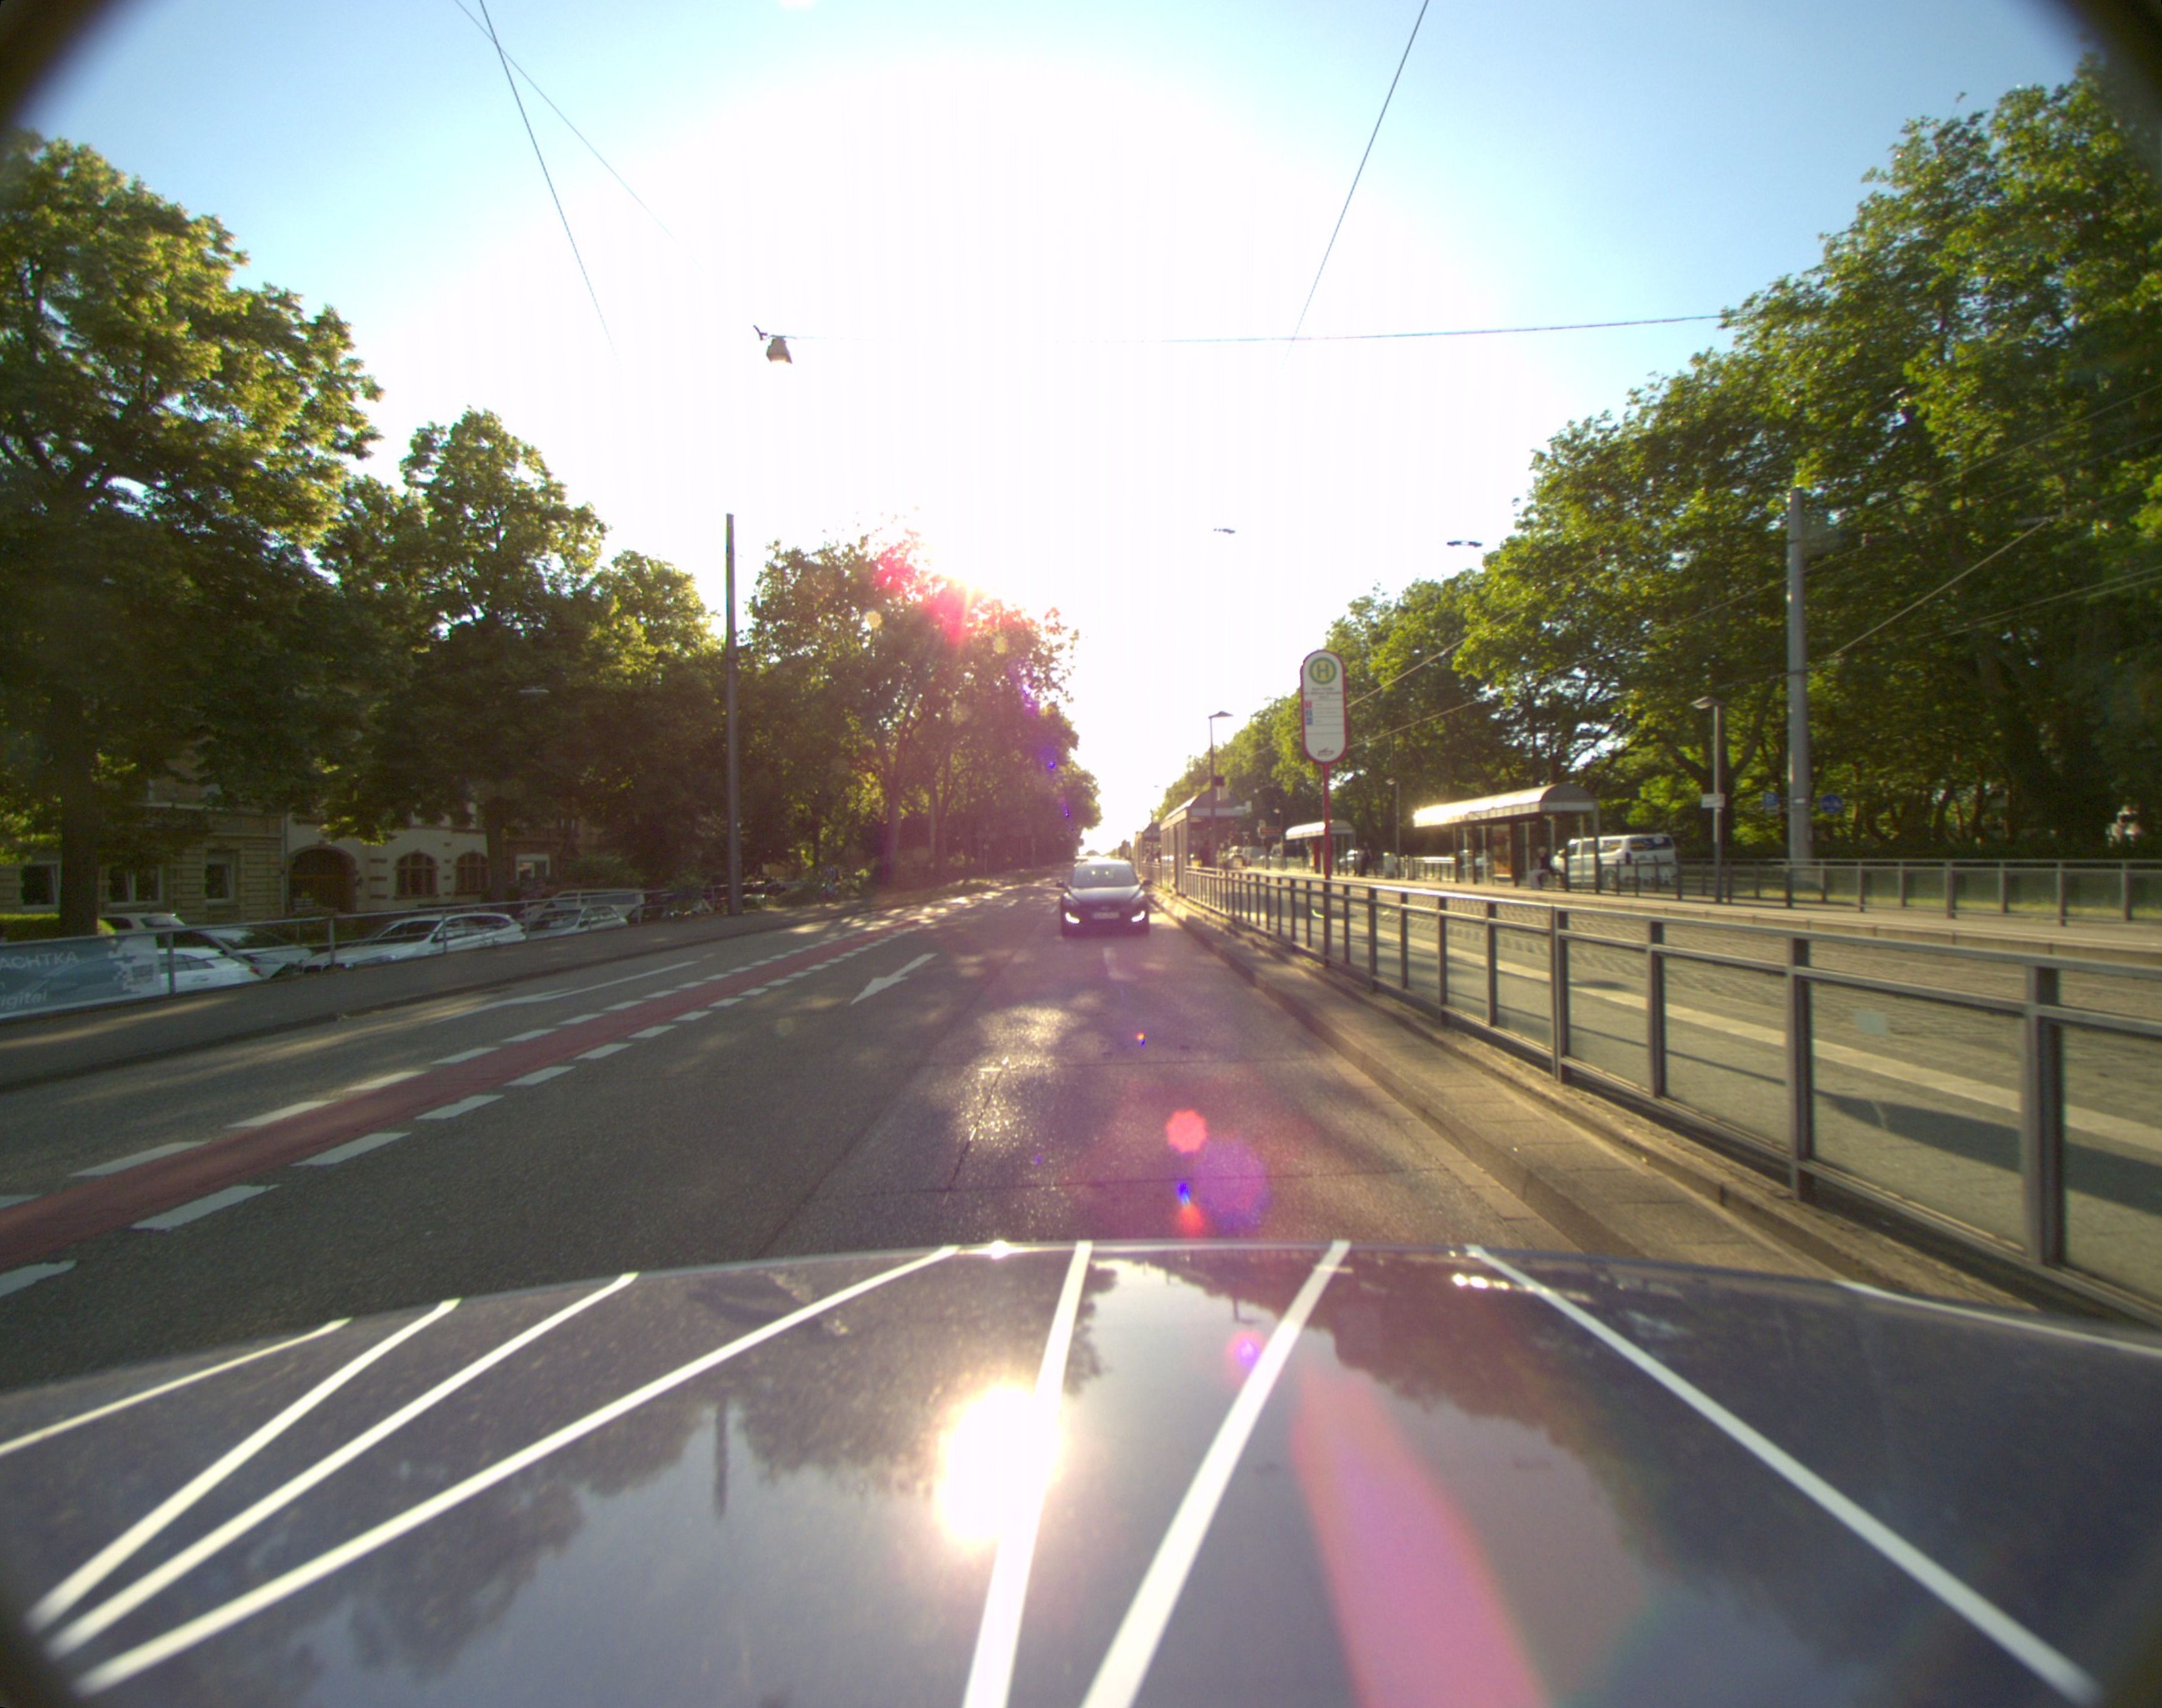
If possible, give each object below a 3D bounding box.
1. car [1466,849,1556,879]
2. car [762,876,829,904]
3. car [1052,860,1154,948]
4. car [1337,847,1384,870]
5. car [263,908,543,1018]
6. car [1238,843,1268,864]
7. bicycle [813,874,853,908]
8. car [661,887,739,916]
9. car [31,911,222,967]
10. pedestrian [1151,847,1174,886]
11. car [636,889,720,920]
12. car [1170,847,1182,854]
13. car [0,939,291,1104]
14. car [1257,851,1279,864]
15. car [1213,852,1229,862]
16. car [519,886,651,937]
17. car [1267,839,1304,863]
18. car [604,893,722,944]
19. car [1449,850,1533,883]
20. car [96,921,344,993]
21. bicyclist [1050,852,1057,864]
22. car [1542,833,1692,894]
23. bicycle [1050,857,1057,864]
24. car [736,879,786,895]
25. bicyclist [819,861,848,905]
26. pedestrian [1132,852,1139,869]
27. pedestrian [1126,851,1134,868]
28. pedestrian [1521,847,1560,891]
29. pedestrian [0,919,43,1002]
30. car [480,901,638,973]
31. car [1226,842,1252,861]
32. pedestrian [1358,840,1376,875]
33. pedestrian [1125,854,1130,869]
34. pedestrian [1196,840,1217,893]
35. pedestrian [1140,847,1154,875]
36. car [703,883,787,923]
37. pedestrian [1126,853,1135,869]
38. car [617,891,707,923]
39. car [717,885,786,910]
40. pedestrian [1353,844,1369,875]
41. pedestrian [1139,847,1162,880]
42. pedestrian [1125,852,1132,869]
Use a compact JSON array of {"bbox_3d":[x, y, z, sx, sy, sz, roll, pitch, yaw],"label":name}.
[{"bbox_3d":[20.297,0.426,36.052,1.774,1.284,4.314,0,1,-1],"label":"car"},{"bbox_3d":[-21.395,2.655,57.016,4.470,2.002,1.992,0,-1,-29],"label":"car"},{"bbox_3d":[0.441,0.922,15.818,1.798,1.501,4.000,-2,0,1],"label":"car"},{"bbox_3d":[20.934,0.284,57.025,1.908,1.642,3.971,0,1,-2],"label":"car"},{"bbox_3d":[-14.132,2.170,16.314,1.799,1.570,4.552,-2,1,1],"label":"car"},{"bbox_3d":[21.778,-0.094,96.660,2.189,2.506,6.269,0,1,-2],"label":"car"},{"bbox_3d":[-8.871,1.304,27.253,0.768,1.101,1.800,-1,0,1],"label":"bicycle"},{"bbox_3d":[-22.563,2.783,45.015,4.007,1.501,1.796,0,-1,-31],"label":"car"},{"bbox_3d":[-29.803,2.624,23.817,3.575,1.513,1.800,0,0,-2],"label":"car"},{"bbox_3d":[3.698,0.576,34.497,0.654,1.712,0.708,-3,1,-34],"label":"pedestrian"},{"bbox_3d":[-22.282,2.757,41.985,4.007,1.501,1.796,0,-1,-31],"label":"car"},{"bbox_3d":[21.628,-0.809,173.221,1.832,1.709,4.392,0,1,-5],"label":"car"},{"bbox_3d":[-14.000,2.260,10.303,1.799,1.570,4.442,-2,1,1],"label":"car"},{"bbox_3d":[22.101,0.432,90.042,1.656,1.504,3.264,0,1,-2],"label":"car"},{"bbox_3d":[21.562,0.460,117.249,1.743,1.546,3.881,0,1,-1],"label":"car"},{"bbox_3d":[-21.506,2.446,33.167,4.690,1.954,1.868,0,-1,-31],"label":"car"},{"bbox_3d":[21.860,-0.326,81.475,2.189,2.506,6.031,0,1,-1],"label":"car"},{"bbox_3d":[-14.232,2.146,26.141,1.799,1.301,3.999,-2,1,-1],"label":"car"},{"bbox_3d":[20.411,0.563,38.016,1.799,1.501,4.340,0,1,-1],"label":"car"},{"bbox_3d":[-21.021,2.496,18.689,3.997,1.505,1.800,0,0,-1],"label":"car"},{"bbox_3d":[-4.129,0.632,114.342,0.700,1.718,1.081,-1,0,9],"label":"bicyclist"},{"bbox_3d":[20.188,0.306,28.990,2.072,2.112,5.089,0,1,-1],"label":"car"},{"bbox_3d":[-4.119,0.983,114.346,0.700,1.101,1.931,-1,0,9],"label":"bicycle"},{"bbox_3d":[-30.589,3.135,72.728,3.995,1.501,1.801,0,0,6],"label":"car"},{"bbox_3d":[-8.869,1.030,27.220,0.768,1.504,0.650,-1,1,1],"label":"bicyclist"},{"bbox_3d":[4.978,0.590,69.445,0.521,1.464,0.514,1,1,2],"label":"pedestrian"},{"bbox_3d":[4.492,0.525,69.926,0.520,1.559,0.509,2,1,31],"label":"pedestrian"},{"bbox_3d":[13.949,0.442,23.063,0.671,1.317,0.757,1,1,-1],"label":"pedestrian"},{"bbox_3d":[-23.714,2.345,16.771,0.650,1.736,0.631,-1,1,-4],"label":"pedestrian"},{"bbox_3d":[-14.083,2.186,20.772,1.799,1.433,3.576,-2,1,-1],"label":"car"},{"bbox_3d":[21.671,-0.348,104.501,2.189,2.506,6.049,0,1,-1],"label":"car"},{"bbox_3d":[14.636,0.181,38.868,0.649,1.762,0.650,-2,1,4],"label":"pedestrian"},{"bbox_3d":[4.170,0.693,68.790,0.417,1.313,0.359,1,1,1],"label":"pedestrian"},{"bbox_3d":[4.061,0.387,24.567,0.596,1.668,0.589,-2,1,6],"label":"pedestrian"},{"bbox_3d":[4.033,0.432,46.231,0.744,1.685,0.791,-3,1,2],"label":"pedestrian"},{"bbox_3d":[-14.309,2.046,32.643,1.799,1.301,3.999,-2,1,-1],"label":"car"},{"bbox_3d":[4.467,0.652,68.224,0.592,1.398,0.558,0,1,-19],"label":"pedestrian"},{"bbox_3d":[-21.561,2.698,39.137,3.932,1.443,1.685,0,-1,-33],"label":"car"},{"bbox_3d":[-22.012,2.868,50.752,4.007,1.501,1.796,0,-1,-31],"label":"car"},{"bbox_3d":[14.618,0.282,39.676,0.594,1.535,0.626,-2,1,2],"label":"pedestrian"},{"bbox_3d":[3.613,0.484,39.517,0.800,1.624,0.868,-3,0,39],"label":"pedestrian"},{"bbox_3d":[4.321,0.569,69.311,0.591,1.511,0.514,1,1,2],"label":"pedestrian"}]
